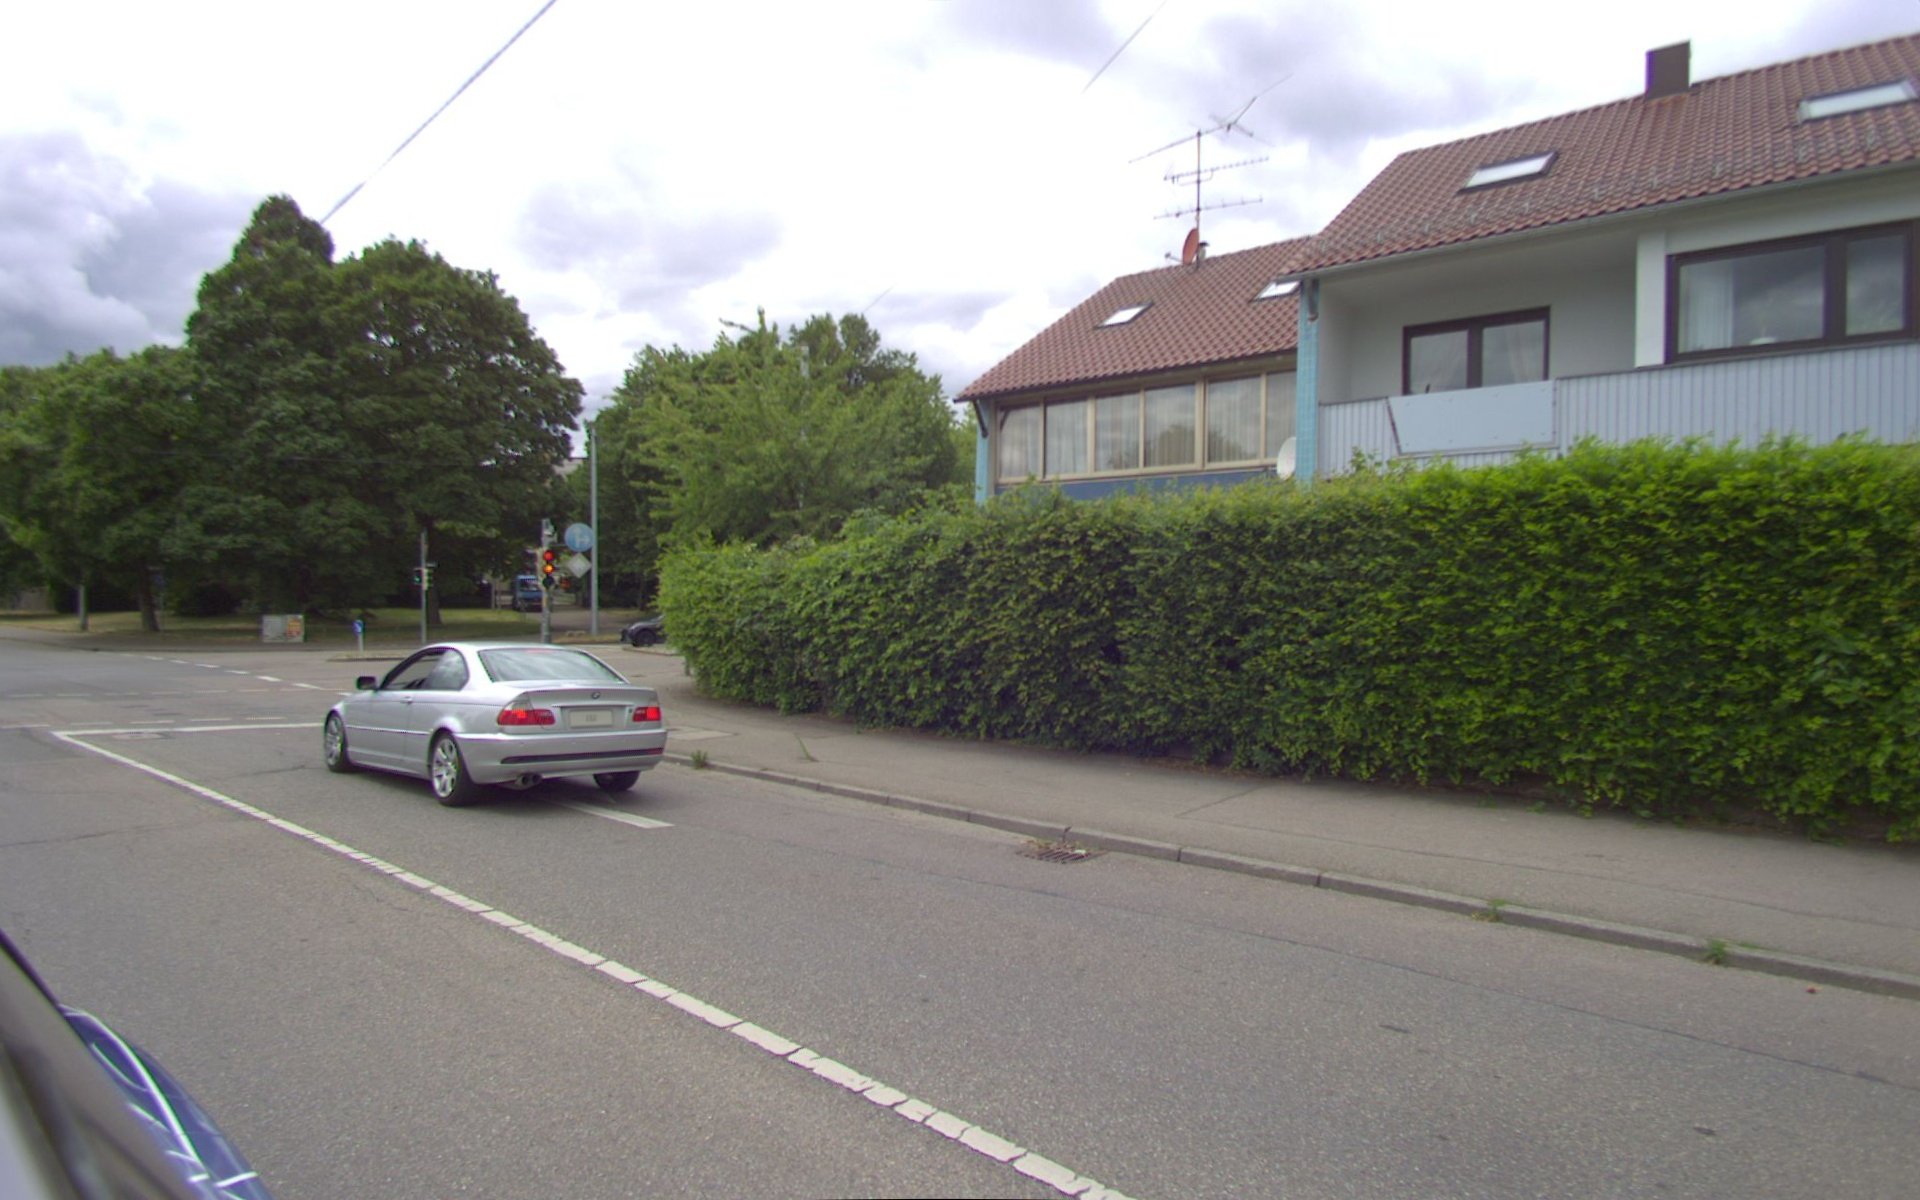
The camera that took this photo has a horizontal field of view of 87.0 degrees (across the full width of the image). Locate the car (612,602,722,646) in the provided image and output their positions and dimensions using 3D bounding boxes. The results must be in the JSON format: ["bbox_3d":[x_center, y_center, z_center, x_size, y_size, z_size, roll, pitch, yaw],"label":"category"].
[{"bbox_3d":[-11.383,0.897,39.267,3.931,1.630,2.007,0,0,-21],"label":"car"}]

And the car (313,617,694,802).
[{"bbox_3d":[-4.471,0.920,9.636,4.081,1.364,1.695,0,-5,41],"label":"car"}]

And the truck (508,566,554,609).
[{"bbox_3d":[-30.263,-0.880,71.206,2.440,2.869,7.457,0,0,-27],"label":"truck"}]
